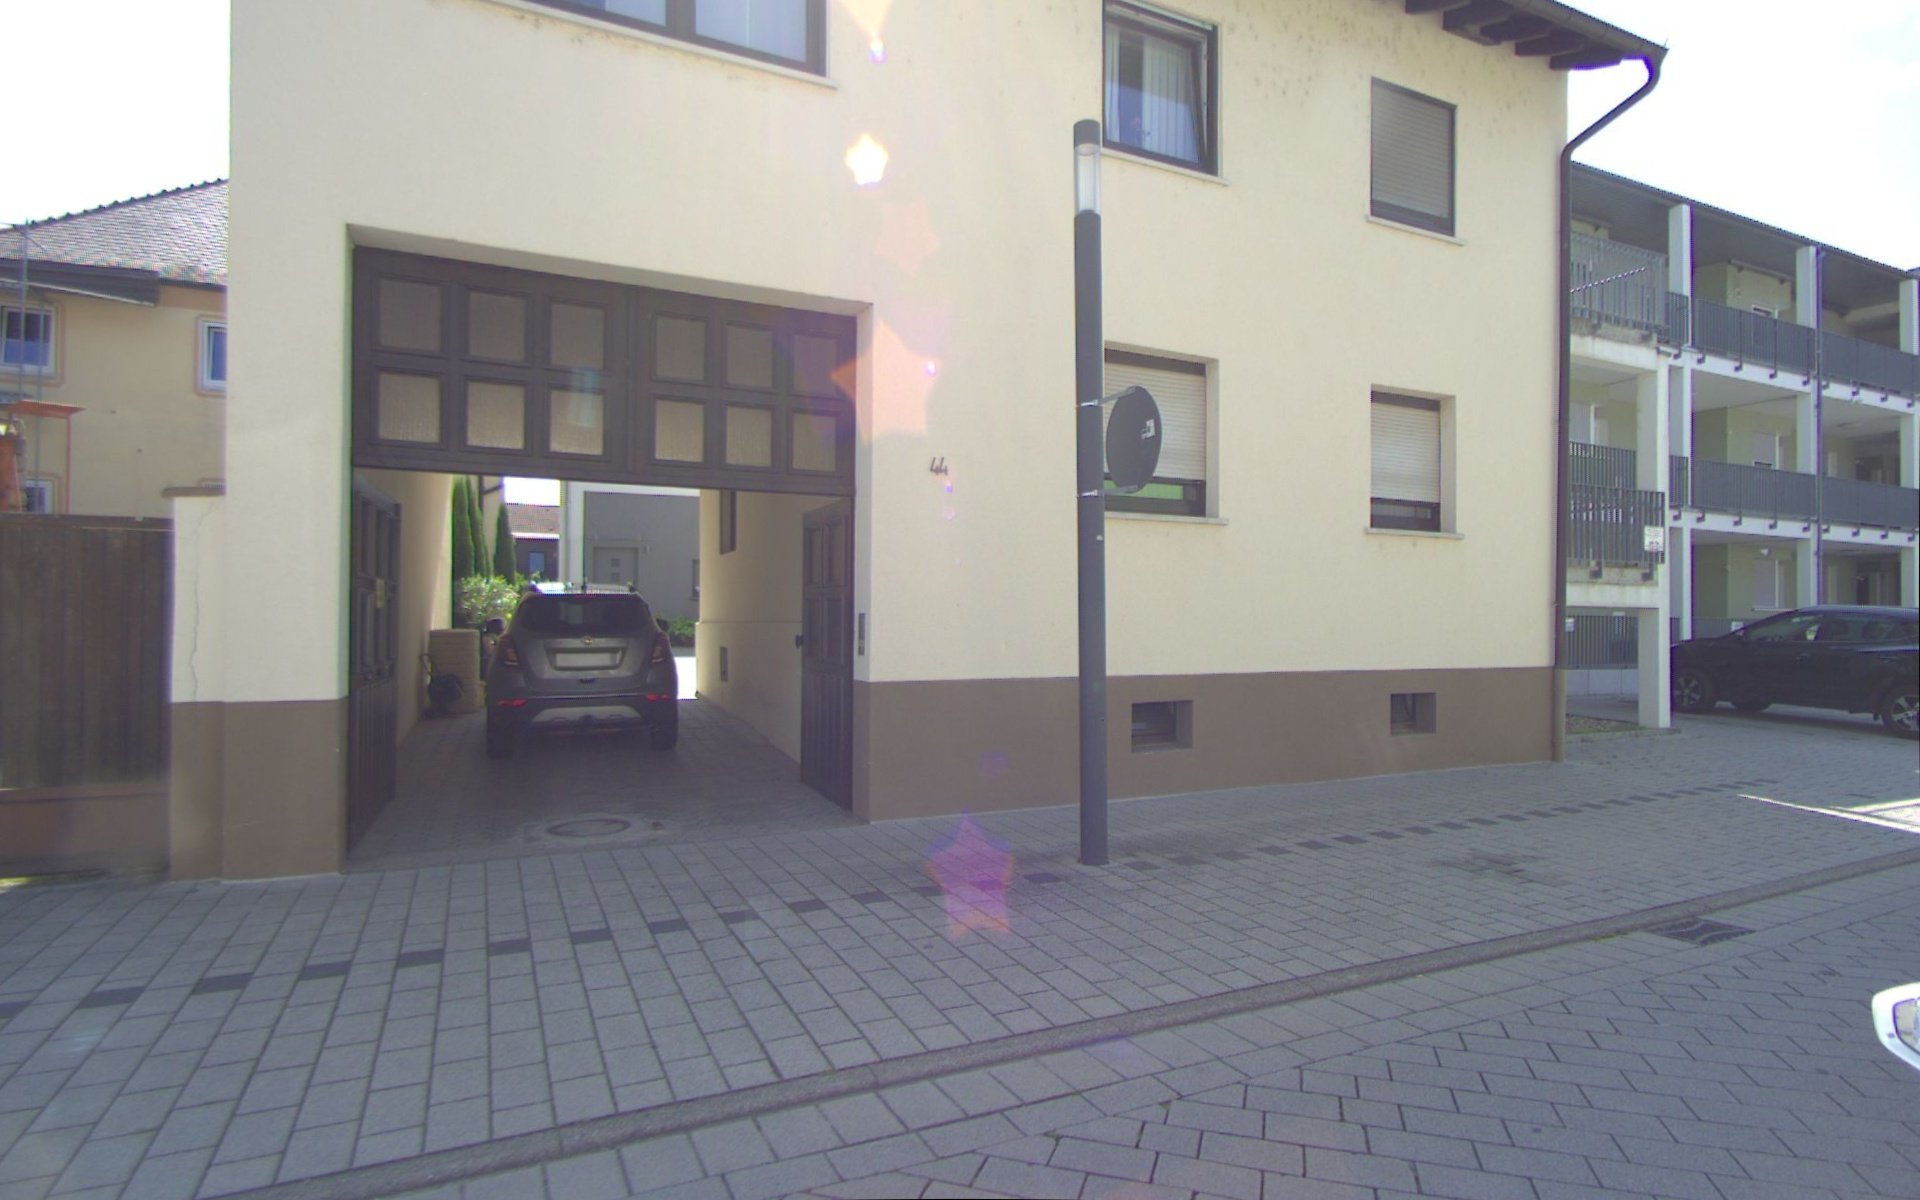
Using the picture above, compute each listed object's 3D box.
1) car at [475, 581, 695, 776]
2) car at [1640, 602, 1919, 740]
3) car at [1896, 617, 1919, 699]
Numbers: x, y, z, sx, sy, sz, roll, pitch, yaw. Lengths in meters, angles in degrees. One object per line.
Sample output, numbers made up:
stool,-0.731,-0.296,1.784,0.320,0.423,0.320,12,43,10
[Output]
car,-4.106,0.667,10.998,1.862,1.647,3.979,1,2,-22
car,12.362,0.912,14.229,1.761,1.680,4.204,1,1,-26
car,19.303,1.135,17.596,1.726,1.523,3.890,0,1,-24
